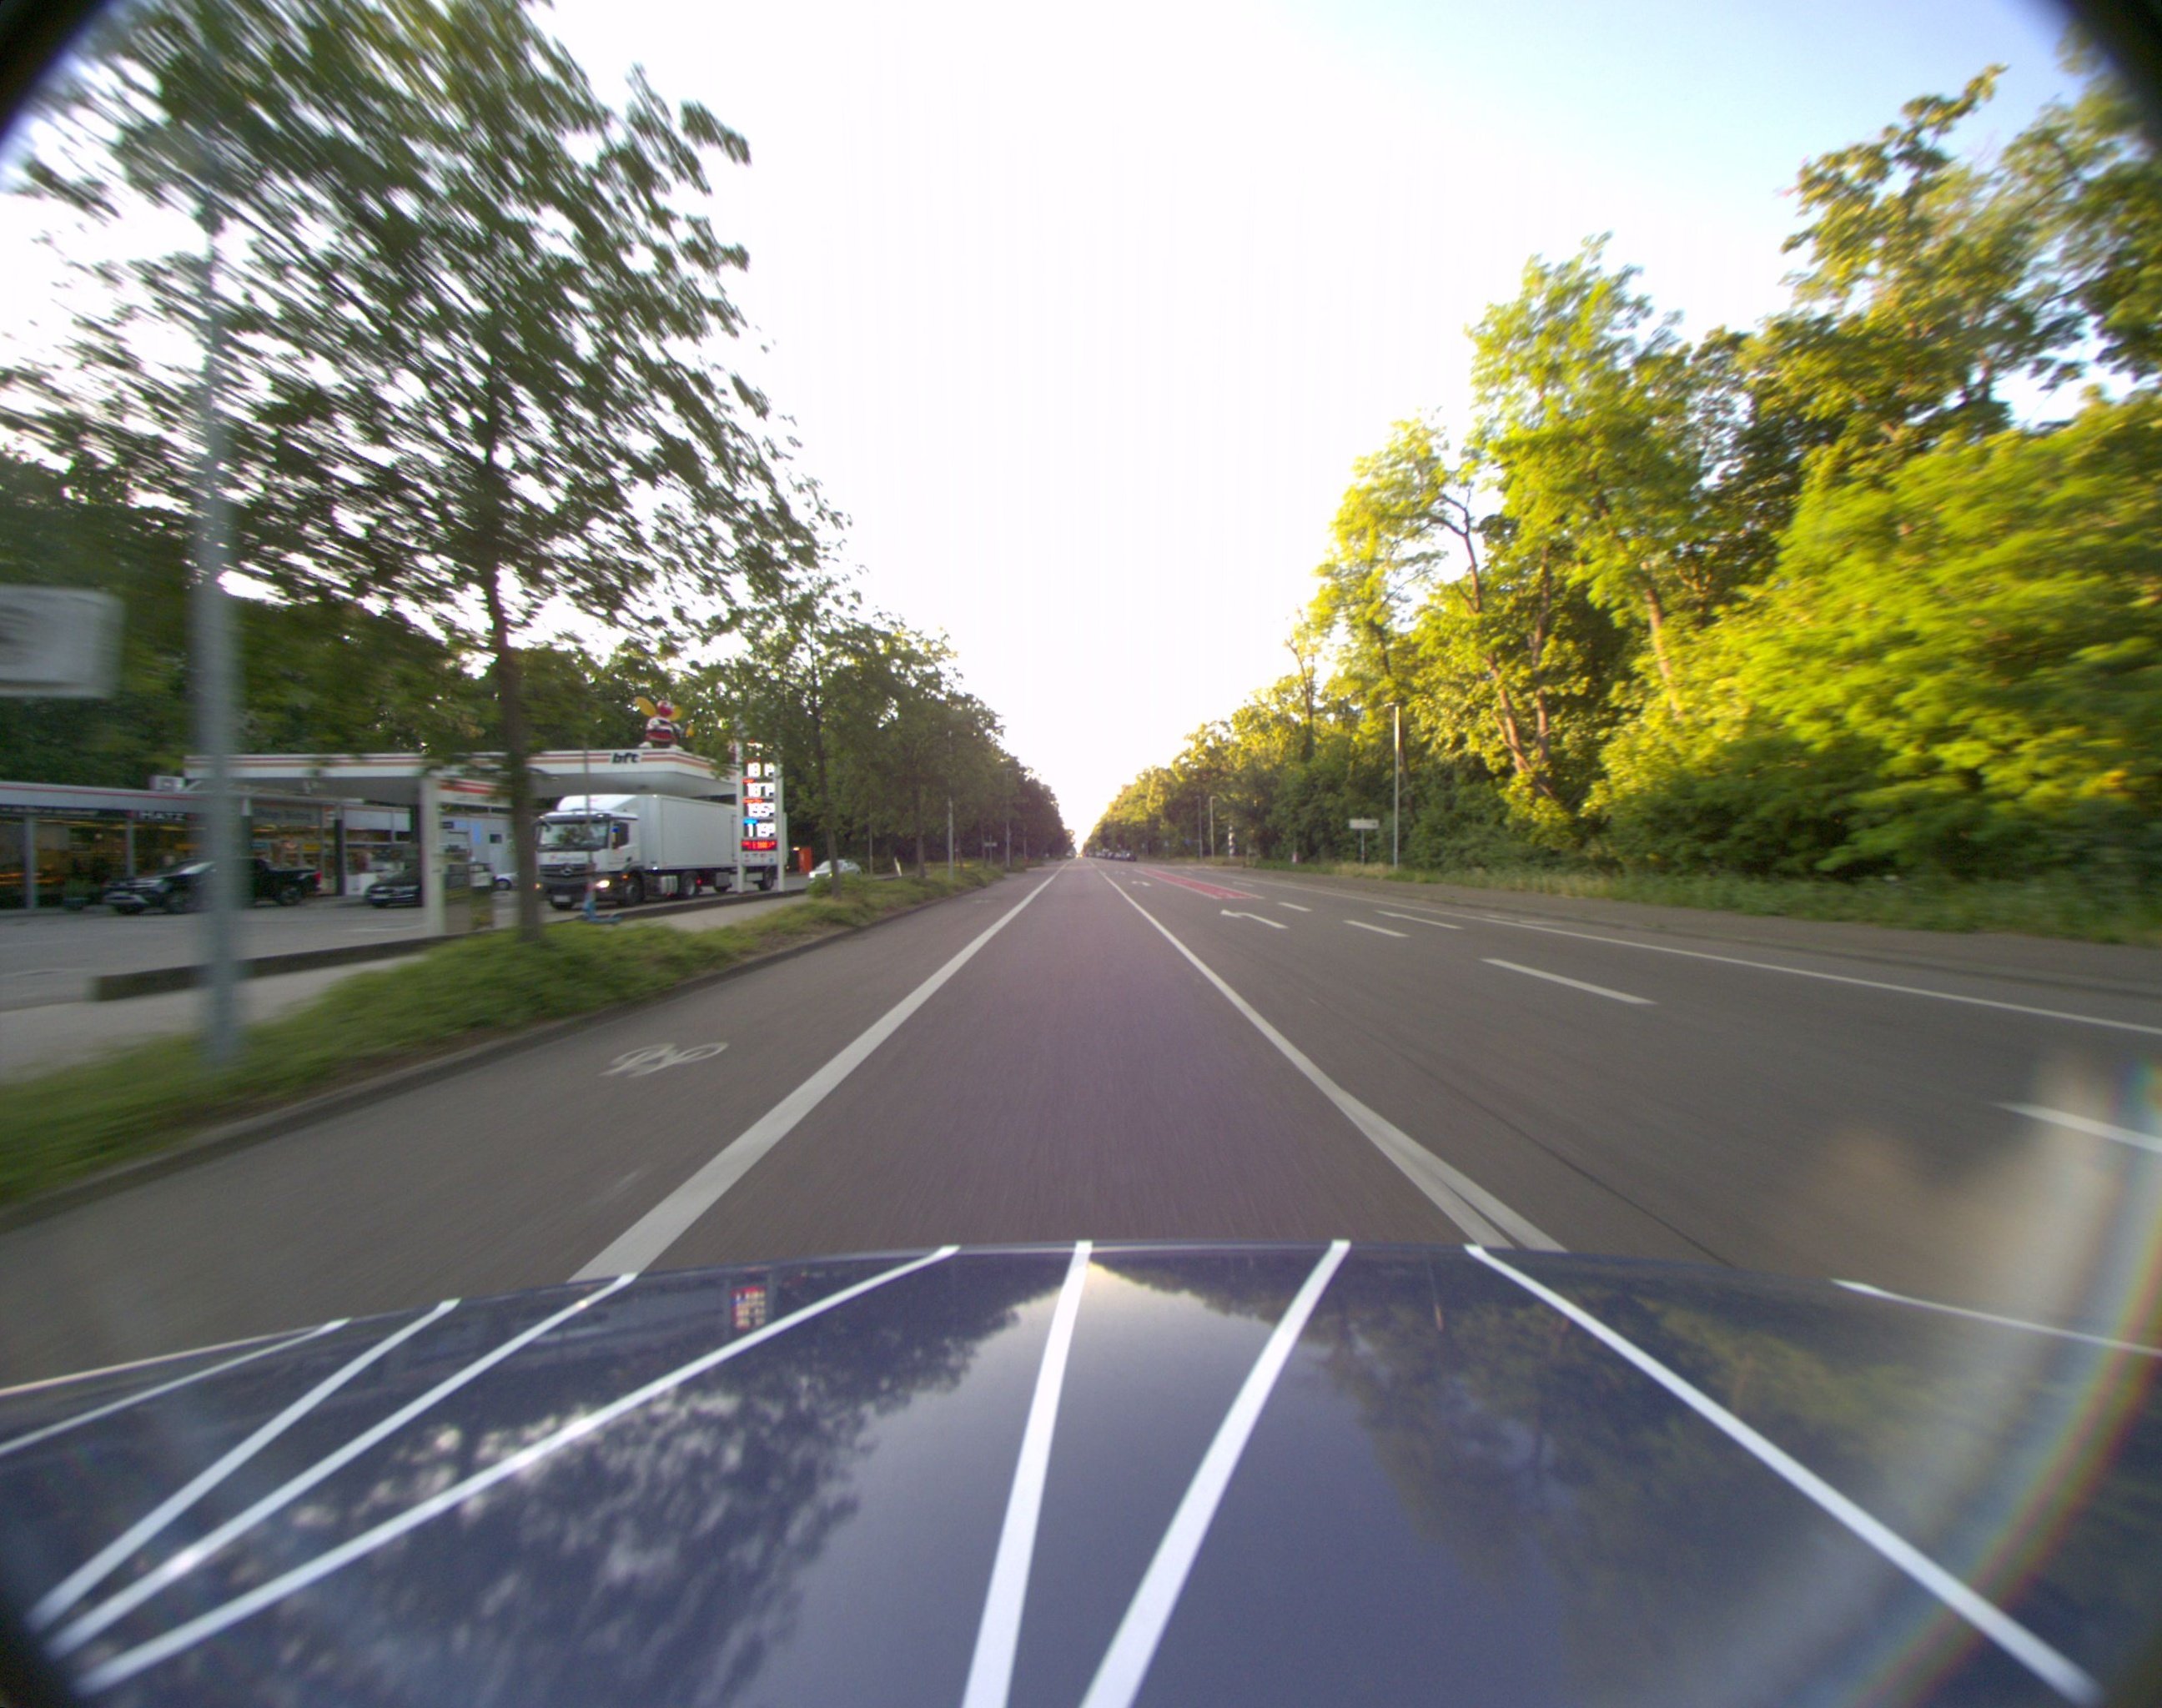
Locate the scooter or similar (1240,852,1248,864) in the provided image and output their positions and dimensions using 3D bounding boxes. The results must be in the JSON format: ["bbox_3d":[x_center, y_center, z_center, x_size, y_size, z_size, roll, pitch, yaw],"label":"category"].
[{"bbox_3d":[14.678,0.379,68.375,0.360,1.103,0.881,0,1,42],"label":"scooter or similar"}]

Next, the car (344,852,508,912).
[{"bbox_3d":[-23.793,0.934,27.902,1.876,1.855,4.674,-1,2,1],"label":"car"}]

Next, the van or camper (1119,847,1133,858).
[{"bbox_3d":[8.735,-0.254,147.908,2.037,2.082,5.012,1,0,-4],"label":"van or camper"}]

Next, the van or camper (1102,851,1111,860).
[{"bbox_3d":[6.262,0.399,187.700,2.008,2.006,5.460,1,0,-2],"label":"van or camper"}]

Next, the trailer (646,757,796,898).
[{"bbox_3d":[-15.538,-1.027,33.639,3.028,5.430,7.932,-1,0,-3],"label":"trailer"}]

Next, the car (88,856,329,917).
[{"bbox_3d":[-29.986,1.014,26.485,1.953,1.854,5.501,-1,0,1],"label":"car"}]

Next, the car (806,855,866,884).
[{"bbox_3d":[-14.873,0.921,46.416,1.773,1.574,4.820,-2,0,4],"label":"car"}]

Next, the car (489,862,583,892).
[{"bbox_3d":[-29.830,1.248,41.719,4.139,1.513,1.669,0,1,-34],"label":"car"}]

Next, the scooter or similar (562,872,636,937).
[{"bbox_3d":[-10.229,1.043,16.191,0.599,1.275,1.468,-1,1,1],"label":"scooter or similar"}]

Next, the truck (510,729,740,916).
[{"bbox_3d":[-15.278,-0.987,26.554,3.041,5.425,8.406,-2,1,-3],"label":"truck"}]

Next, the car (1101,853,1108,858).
[{"bbox_3d":[7.182,0.556,235.233,1.850,1.454,4.229,1,-1,-3],"label":"car"}]

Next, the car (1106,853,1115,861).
[{"bbox_3d":[6.621,0.643,172.650,1.749,1.702,4.522,1,0,-2],"label":"car"}]

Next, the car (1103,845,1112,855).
[{"bbox_3d":[7.465,-1.071,211.615,2.084,2.591,7.088,2,0,0],"label":"car"}]

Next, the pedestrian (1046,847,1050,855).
[{"bbox_3d":[-7.192,-0.763,167.492,0.840,1.741,0.726,-1,0,1],"label":"pedestrian"}]

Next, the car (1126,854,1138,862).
[{"bbox_3d":[9.548,0.797,142.162,1.692,1.453,4.241,1,0,-5],"label":"car"}]

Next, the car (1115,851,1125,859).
[{"bbox_3d":[8.131,0.223,158.852,1.621,1.525,4.038,1,0,-5],"label":"car"}]
